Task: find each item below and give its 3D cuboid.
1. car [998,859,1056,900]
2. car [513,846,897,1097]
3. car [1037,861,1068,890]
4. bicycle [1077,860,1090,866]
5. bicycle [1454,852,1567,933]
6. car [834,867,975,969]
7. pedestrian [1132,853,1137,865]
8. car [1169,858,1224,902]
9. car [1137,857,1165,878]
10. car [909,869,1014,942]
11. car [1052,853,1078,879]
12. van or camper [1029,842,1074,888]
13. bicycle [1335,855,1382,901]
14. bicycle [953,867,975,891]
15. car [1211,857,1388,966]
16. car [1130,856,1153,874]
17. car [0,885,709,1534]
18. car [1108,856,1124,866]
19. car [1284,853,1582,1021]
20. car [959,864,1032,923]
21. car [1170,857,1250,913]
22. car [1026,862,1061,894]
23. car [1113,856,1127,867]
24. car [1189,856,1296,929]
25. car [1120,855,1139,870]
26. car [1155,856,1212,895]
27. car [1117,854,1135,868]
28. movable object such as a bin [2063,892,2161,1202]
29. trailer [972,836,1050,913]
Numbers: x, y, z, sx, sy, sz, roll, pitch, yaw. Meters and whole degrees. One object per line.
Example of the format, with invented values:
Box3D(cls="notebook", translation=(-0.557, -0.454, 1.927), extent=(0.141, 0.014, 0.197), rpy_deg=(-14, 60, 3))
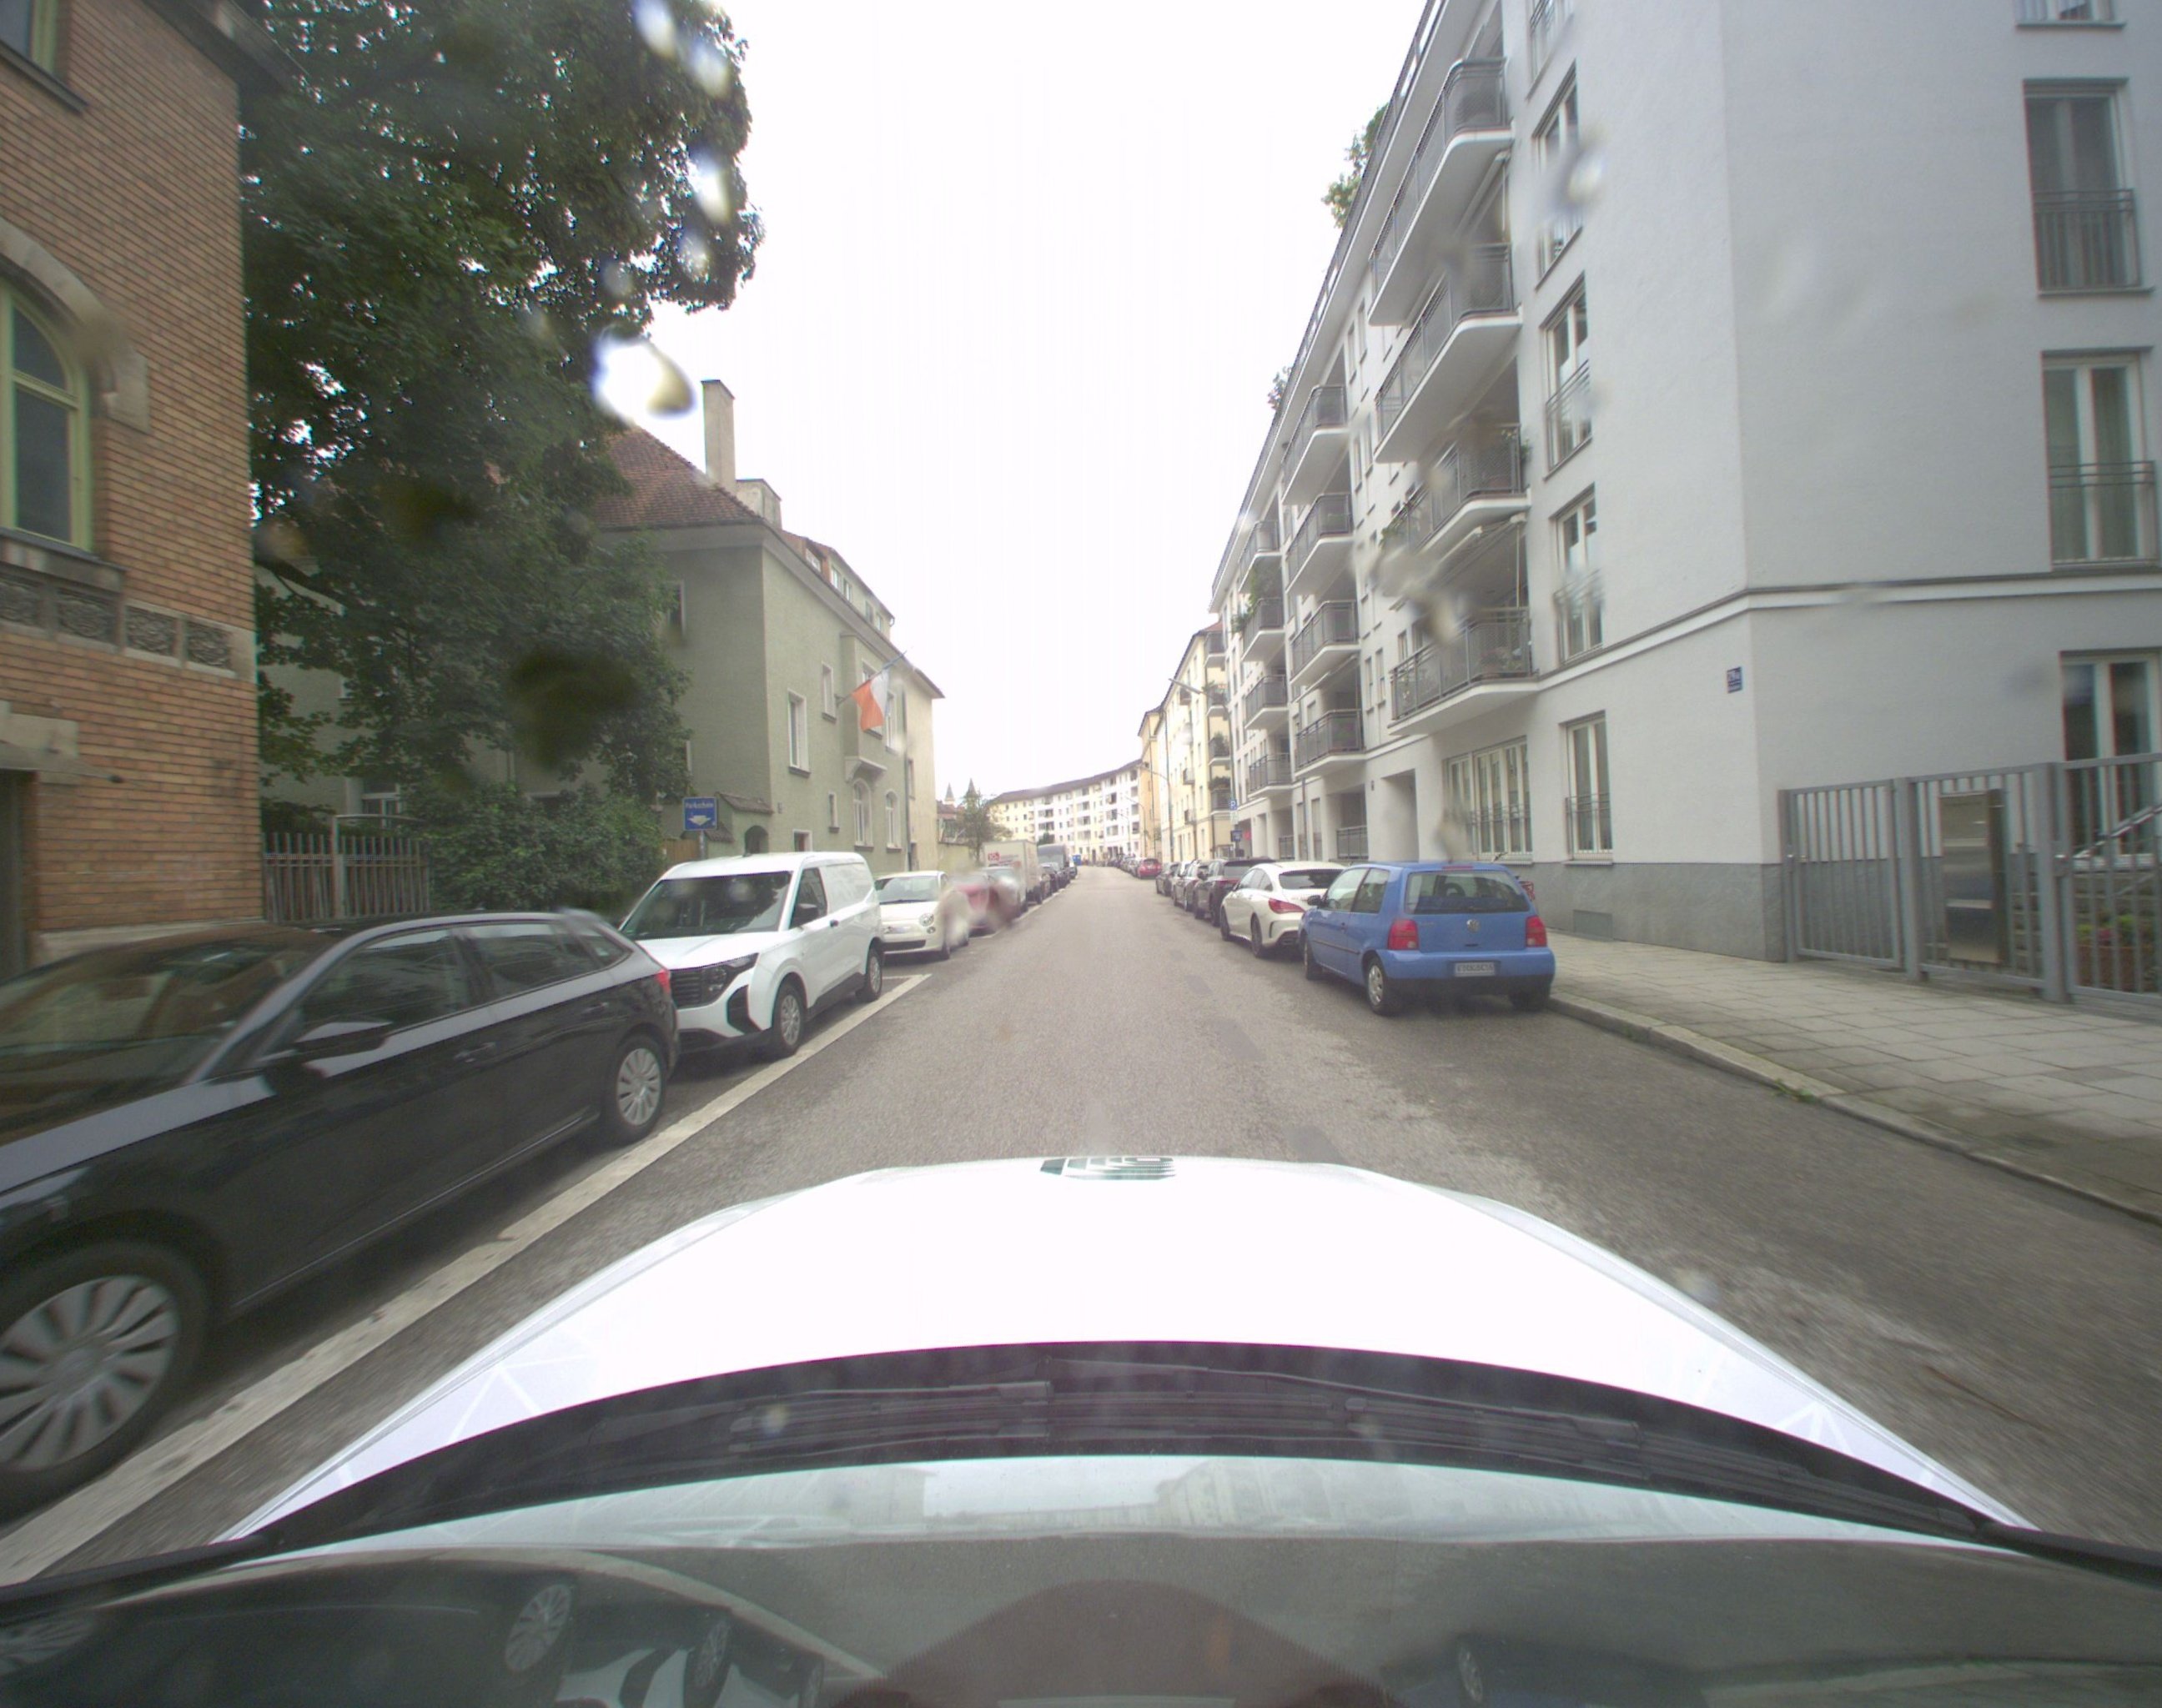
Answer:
Box3D(cls="car", translation=(-2.312, 1.068, 36.151), extent=(1.856, 1.541, 5.096), rpy_deg=(-4, 0, 3))
Box3D(cls="car", translation=(-3.277, 0.868, 8.177), extent=(1.709, 1.756, 4.251), rpy_deg=(-4, 0, 1))
Box3D(cls="car", translation=(-1.659, 1.204, 47.650), extent=(1.648, 1.497, 3.905), rpy_deg=(-4, 0, -2))
Box3D(cls="bicycle", translation=(0.482, 1.760, 161.798), extent=(2.243, 1.069, 0.912), rpy_deg=(-2, -1, -24))
Box3D(cls="bicycle", translation=(6.808, 0.578, 13.045), extent=(0.798, 1.172, 1.974), rpy_deg=(-2, 0, 2))
Box3D(cls="car", translation=(-2.996, 1.038, 14.519), extent=(1.621, 1.467, 3.521), rpy_deg=(-3, 0, 1))
Box3D(cls="pedestrian", translation=(7.889, 0.758, 119.737), extent=(0.615, 1.690, 0.919), rpy_deg=(-6, -1, 0))
Box3D(cls="car", translation=(4.271, 0.936, 30.612), extent=(1.611, 1.467, 3.748), rpy_deg=(-1, 0, 2))
Box3D(cls="car", translation=(5.030, 0.958, 59.063), extent=(1.649, 1.429, 3.755), rpy_deg=(-1, 0, 0))
Box3D(cls="car", translation=(-2.760, 1.157, 19.744), extent=(1.739, 1.368, 4.403), rpy_deg=(-4, 0, 1))
Box3D(cls="car", translation=(-1.345, 0.961, 65.769), extent=(1.910, 1.960, 4.957), rpy_deg=(-2, 0, -2))
Box3D(cls="van or camper", translation=(-1.833, 0.677, 52.690), extent=(2.284, 2.650, 5.565), rpy_deg=(-4, 0, 3))
Box3D(cls="bicycle", translation=(7.355, 0.614, 21.664), extent=(0.567, 1.098, 1.811), rpy_deg=(-6, 0, 2))
Box3D(cls="bicycle", translation=(-6.299, 1.332, 43.979), extent=(0.799, 1.233, 1.868), rpy_deg=(-3, -1, 1))
Box3D(cls="car", translation=(3.362, 0.799, 13.393), extent=(1.659, 1.467, 4.374), rpy_deg=(-1, 0, -1))
Box3D(cls="car", translation=(5.497, 0.970, 74.542), extent=(1.646, 1.543, 3.991), rpy_deg=(-1, 0, -1))
Box3D(cls="car", translation=(-3.470, 0.979, 3.465), extent=(1.709, 1.420, 4.167), rpy_deg=(-4, 0, 1))
Box3D(cls="car", translation=(5.235, 1.050, 121.414), extent=(1.904, 1.477, 4.940), rpy_deg=(-1, 0, -4))
Box3D(cls="car", translation=(3.533, 0.724, 8.956), extent=(1.709, 1.423, 3.720), rpy_deg=(-1, 0, 1))
Box3D(cls="car", translation=(-2.560, 1.147, 25.312), extent=(1.673, 1.530, 4.108), rpy_deg=(-4, 0, 1))
Box3D(cls="car", translation=(3.854, 0.885, 25.116), extent=(1.785, 1.482, 4.604), rpy_deg=(-2, 0, 1))
Box3D(cls="car", translation=(-1.931, 1.235, 43.051), extent=(1.671, 1.436, 4.284), rpy_deg=(-4, 0, -2))
Box3D(cls="car", translation=(5.560, 1.040, 115.146), extent=(1.627, 1.417, 3.676), rpy_deg=(-1, 0, -2))
Box3D(cls="car", translation=(3.747, 0.835, 19.590), extent=(1.831, 1.533, 4.022), rpy_deg=(-1, 0, 1))
Box3D(cls="car", translation=(5.627, 0.920, 94.467), extent=(1.841, 1.663, 4.496), rpy_deg=(-1, 0, -1))
Box3D(cls="car", translation=(4.295, 0.872, 34.735), extent=(1.766, 1.476, 4.216), rpy_deg=(-2, 0, -1))
Box3D(cls="car", translation=(5.765, 0.888, 104.937), extent=(2.162, 1.739, 5.024), rpy_deg=(-1, 0, 1))
Box3D(cls="movable object such as a bin", translation=(4.725, 0.746, 2.399), extent=(1.017, 1.193, 2.164), rpy_deg=(-5, 0, 2))
Box3D(cls="trailer", translation=(-2.512, 0.722, 30.455), extent=(1.967, 2.471, 4.583), rpy_deg=(-5, -1, 5))
